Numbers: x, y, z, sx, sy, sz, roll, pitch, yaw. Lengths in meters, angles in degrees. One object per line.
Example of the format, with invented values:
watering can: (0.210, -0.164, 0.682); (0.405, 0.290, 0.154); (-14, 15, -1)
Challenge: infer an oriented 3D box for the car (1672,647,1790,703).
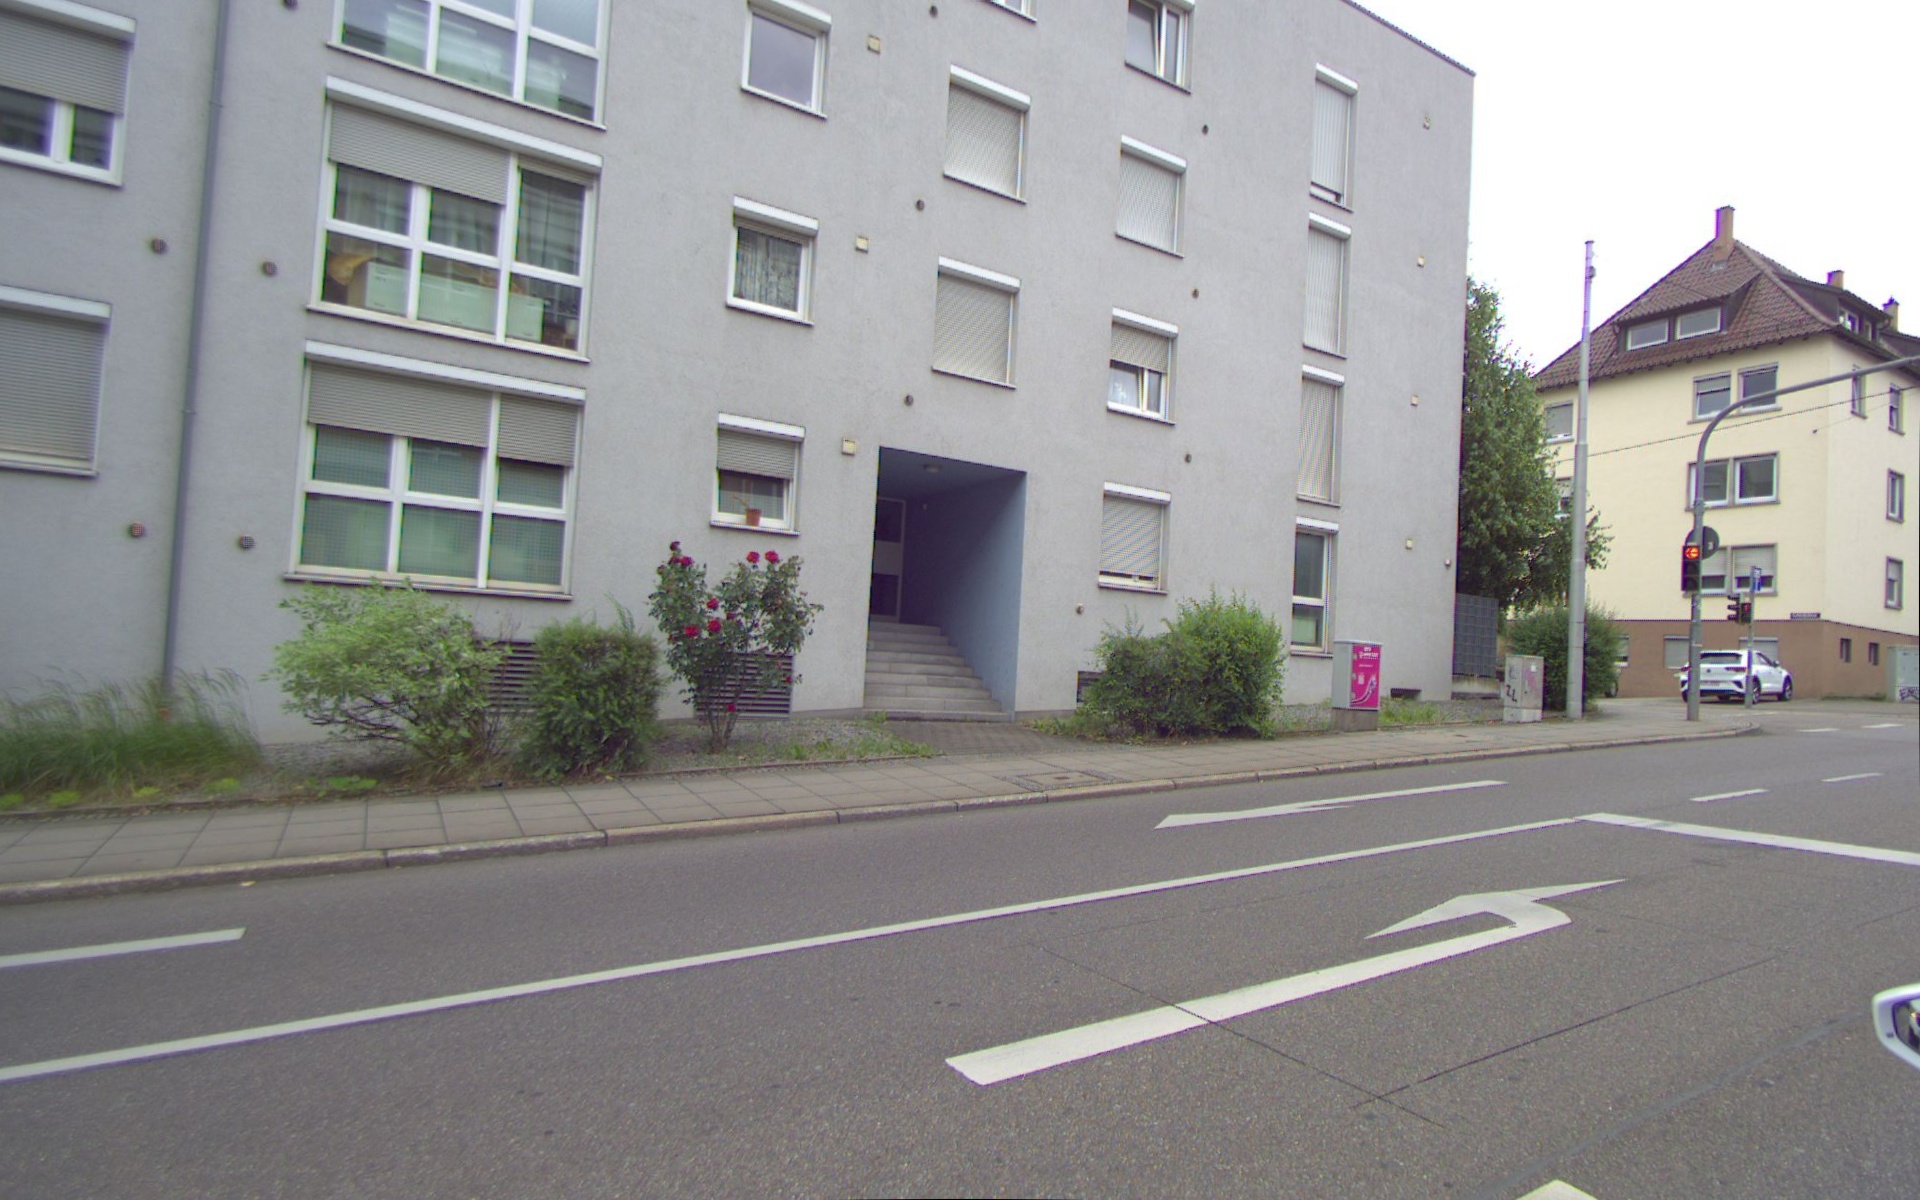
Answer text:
car: (23.043, 2.203, 30.000); (3.727, 1.575, 1.681); (1, -4, -34)

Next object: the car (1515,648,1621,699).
car: (20.931, 2.490, 34.535); (3.727, 1.629, 1.681); (1, -4, -34)
